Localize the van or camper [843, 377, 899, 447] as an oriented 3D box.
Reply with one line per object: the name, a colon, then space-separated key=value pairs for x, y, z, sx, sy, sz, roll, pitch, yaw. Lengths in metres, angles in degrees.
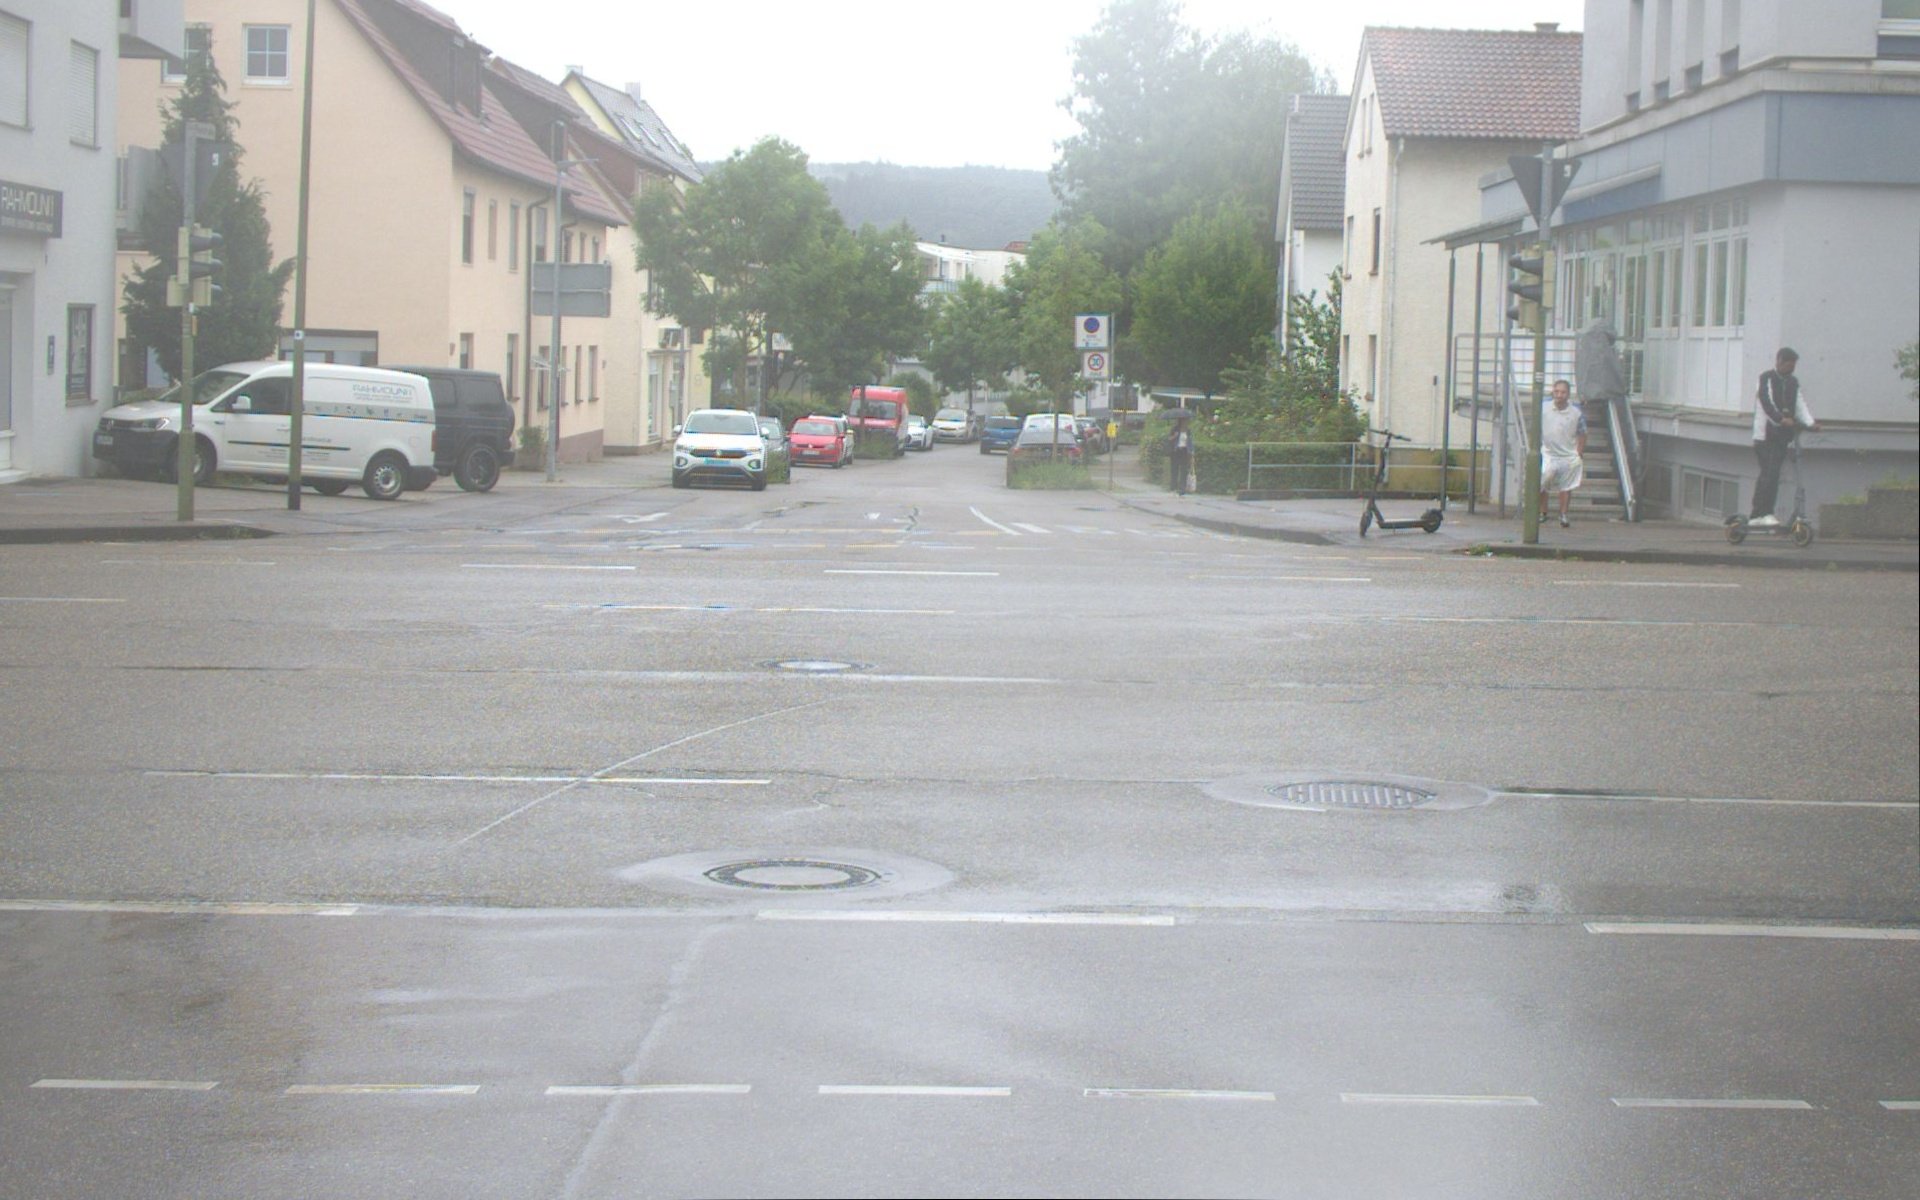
van or camper: x=-3.256 y=-6.904 z=126.498 sx=1.901 sy=2.504 sz=4.239 roll=0 pitch=3 yaw=0

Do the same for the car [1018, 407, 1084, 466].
car: x=2.723 y=-4.919 z=103.525 sx=1.901 sy=1.739 sz=4.192 roll=0 pitch=3 yaw=0

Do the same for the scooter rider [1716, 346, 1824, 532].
scooter rider: x=7.929 y=-1.573 z=33.656 sx=0.752 sy=1.789 sz=0.673 roll=-1 pitch=3 yaw=-23

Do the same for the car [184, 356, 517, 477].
car: x=-9.635 y=-2.887 z=54.539 sx=4.830 sy=1.829 sz=2.000 roll=-2 pitch=3 yaw=-38

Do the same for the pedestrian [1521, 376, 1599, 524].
pedestrian: x=6.864 y=-1.718 z=39.361 sx=0.647 sy=1.641 sz=0.526 roll=4 pitch=2 yaw=-6

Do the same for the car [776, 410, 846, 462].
car: x=-4.506 y=-4.979 z=104.336 sx=1.901 sy=1.553 sz=4.192 roll=0 pitch=3 yaw=0

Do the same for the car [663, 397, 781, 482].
car: x=-4.666 y=-3.169 z=67.908 sx=1.993 sy=1.620 sz=4.192 roll=0 pitch=3 yaw=0

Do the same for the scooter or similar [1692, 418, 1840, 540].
scooter or similar: x=7.898 y=-1.196 z=33.719 sx=0.757 sy=1.167 sz=1.315 roll=-1 pitch=3 yaw=-24

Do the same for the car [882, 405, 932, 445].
car: x=-2.110 y=-7.039 z=138.527 sx=1.901 sy=1.553 sz=4.192 roll=0 pitch=3 yaw=0

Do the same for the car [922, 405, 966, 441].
car: x=-0.694 y=-7.949 z=154.504 sx=1.901 sy=1.553 sz=4.192 roll=0 pitch=3 yaw=0

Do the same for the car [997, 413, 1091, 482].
car: x=1.954 y=-3.616 z=81.420 sx=2.146 sy=1.583 sz=4.128 roll=0 pitch=3 yaw=0

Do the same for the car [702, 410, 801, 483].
car: x=-4.784 y=-3.545 z=79.308 sx=1.993 sy=1.620 sz=4.192 roll=0 pitch=3 yaw=0

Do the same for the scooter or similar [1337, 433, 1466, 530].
scooter or similar: x=4.947 y=-1.336 z=38.577 sx=1.268 sy=1.077 sz=0.877 roll=0 pitch=3 yaw=-4

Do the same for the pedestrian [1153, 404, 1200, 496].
pedestrian: x=4.455 y=-3.084 z=70.781 sx=0.745 sy=1.842 sz=0.526 roll=4 pitch=2 yaw=-6

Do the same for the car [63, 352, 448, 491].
car: x=-9.701 y=-2.445 z=47.527 sx=4.830 sy=1.829 sz=2.000 roll=-2 pitch=3 yaw=-38

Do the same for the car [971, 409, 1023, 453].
car: x=1.458 y=-6.629 z=134.902 sx=1.993 sy=1.678 sz=4.001 roll=0 pitch=3 yaw=1
